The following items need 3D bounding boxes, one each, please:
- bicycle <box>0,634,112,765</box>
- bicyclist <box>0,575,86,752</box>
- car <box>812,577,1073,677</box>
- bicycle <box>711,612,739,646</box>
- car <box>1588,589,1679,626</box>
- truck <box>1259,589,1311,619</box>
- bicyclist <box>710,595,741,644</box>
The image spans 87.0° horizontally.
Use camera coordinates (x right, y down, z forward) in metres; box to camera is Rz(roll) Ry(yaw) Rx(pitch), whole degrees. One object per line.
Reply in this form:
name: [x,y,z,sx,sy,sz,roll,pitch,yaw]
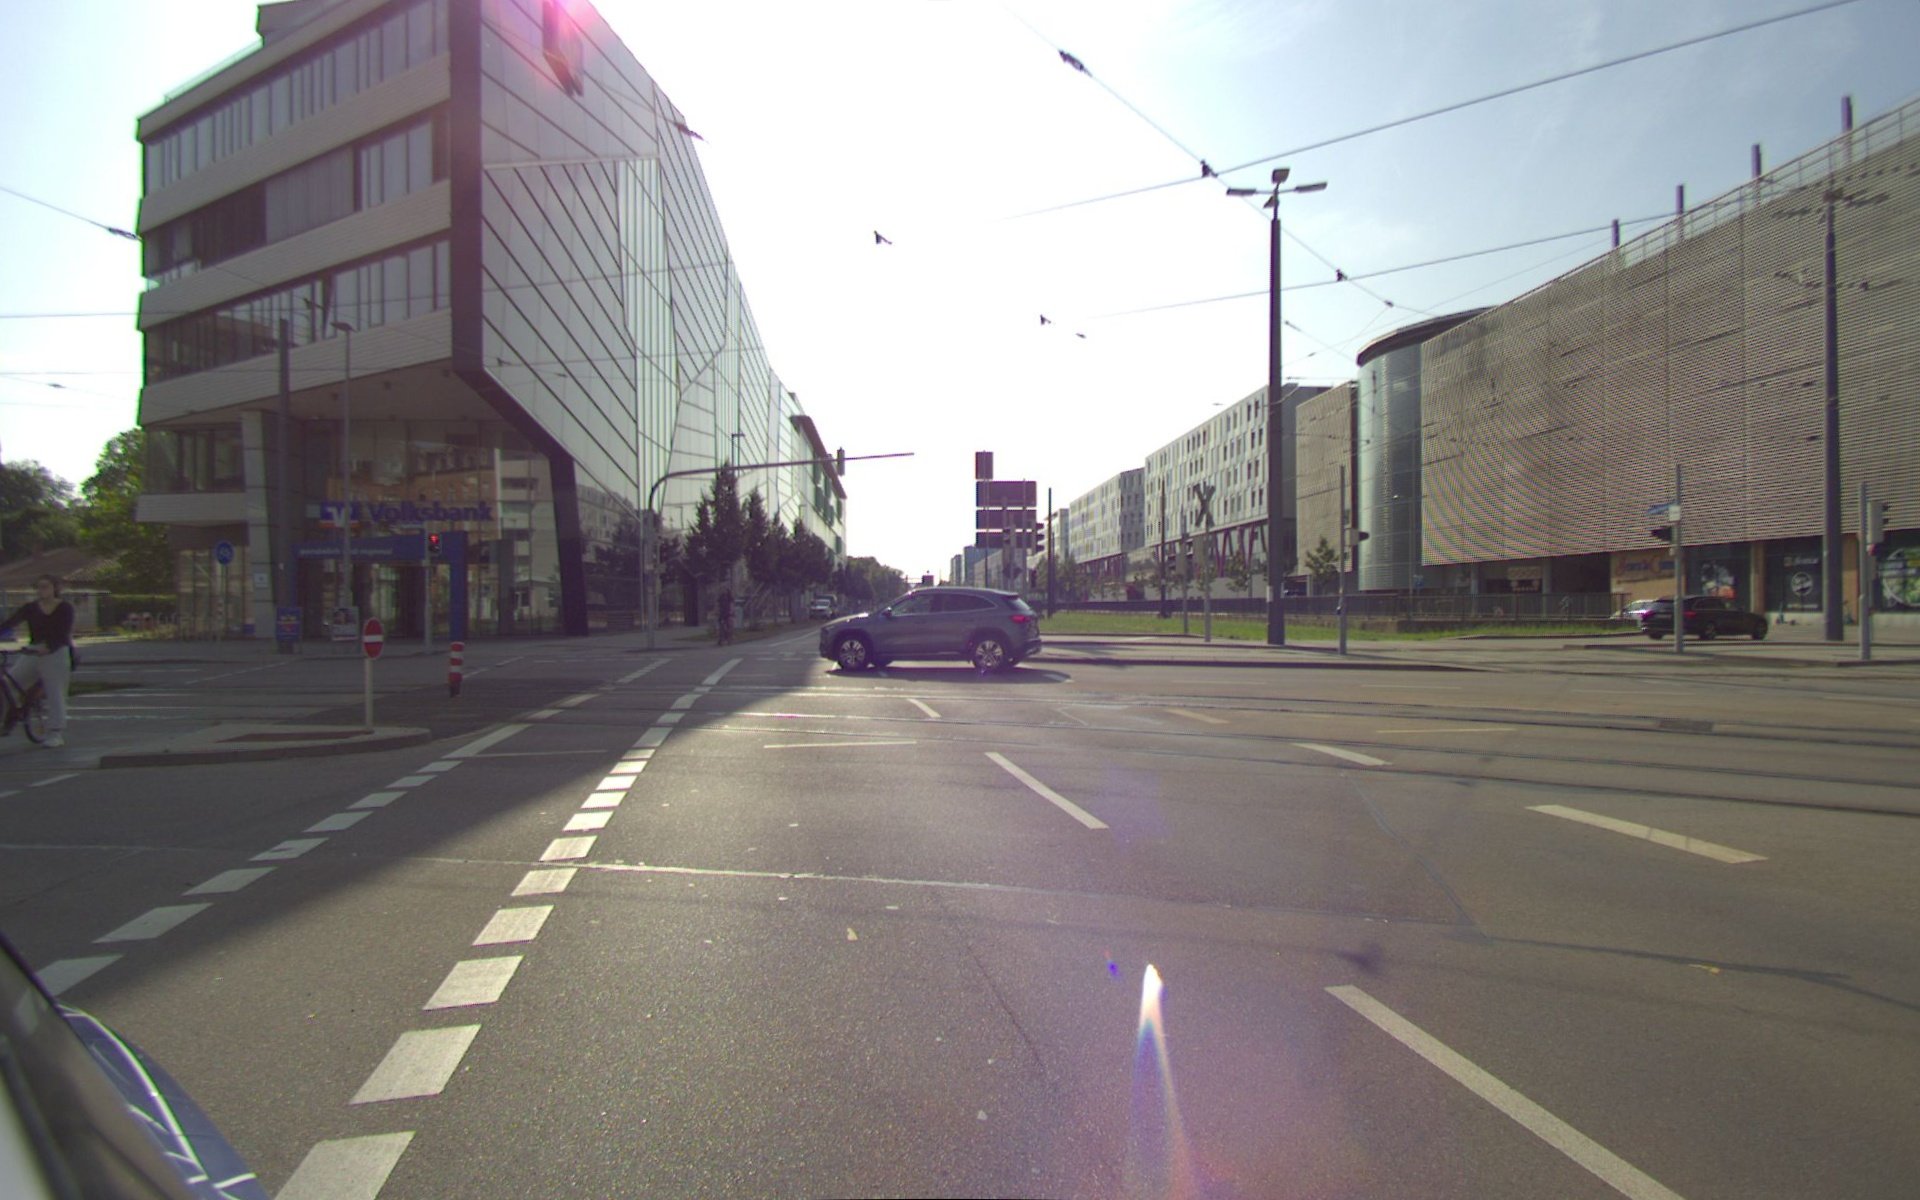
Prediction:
bicycle: [-9.311,0.940,10.035,0.658,1.106,1.810,0,1,-15]
bicyclist: [-9.332,0.611,10.125,0.658,1.715,0.639,0,1,-14]
car: [-0.313,0.455,19.748,4.770,1.796,1.946,0,1,15]
bicycle: [-7.807,0.949,33.645,0.413,1.064,1.959,0,1,2]
car: [30.739,0.309,46.296,1.717,1.571,3.406,0,1,-5]
truck: [26.493,0.319,82.765,2.172,2.339,4.560,-1,0,-9]
bicyclist: [-7.781,0.634,33.627,0.773,1.598,0.931,0,1,2]
